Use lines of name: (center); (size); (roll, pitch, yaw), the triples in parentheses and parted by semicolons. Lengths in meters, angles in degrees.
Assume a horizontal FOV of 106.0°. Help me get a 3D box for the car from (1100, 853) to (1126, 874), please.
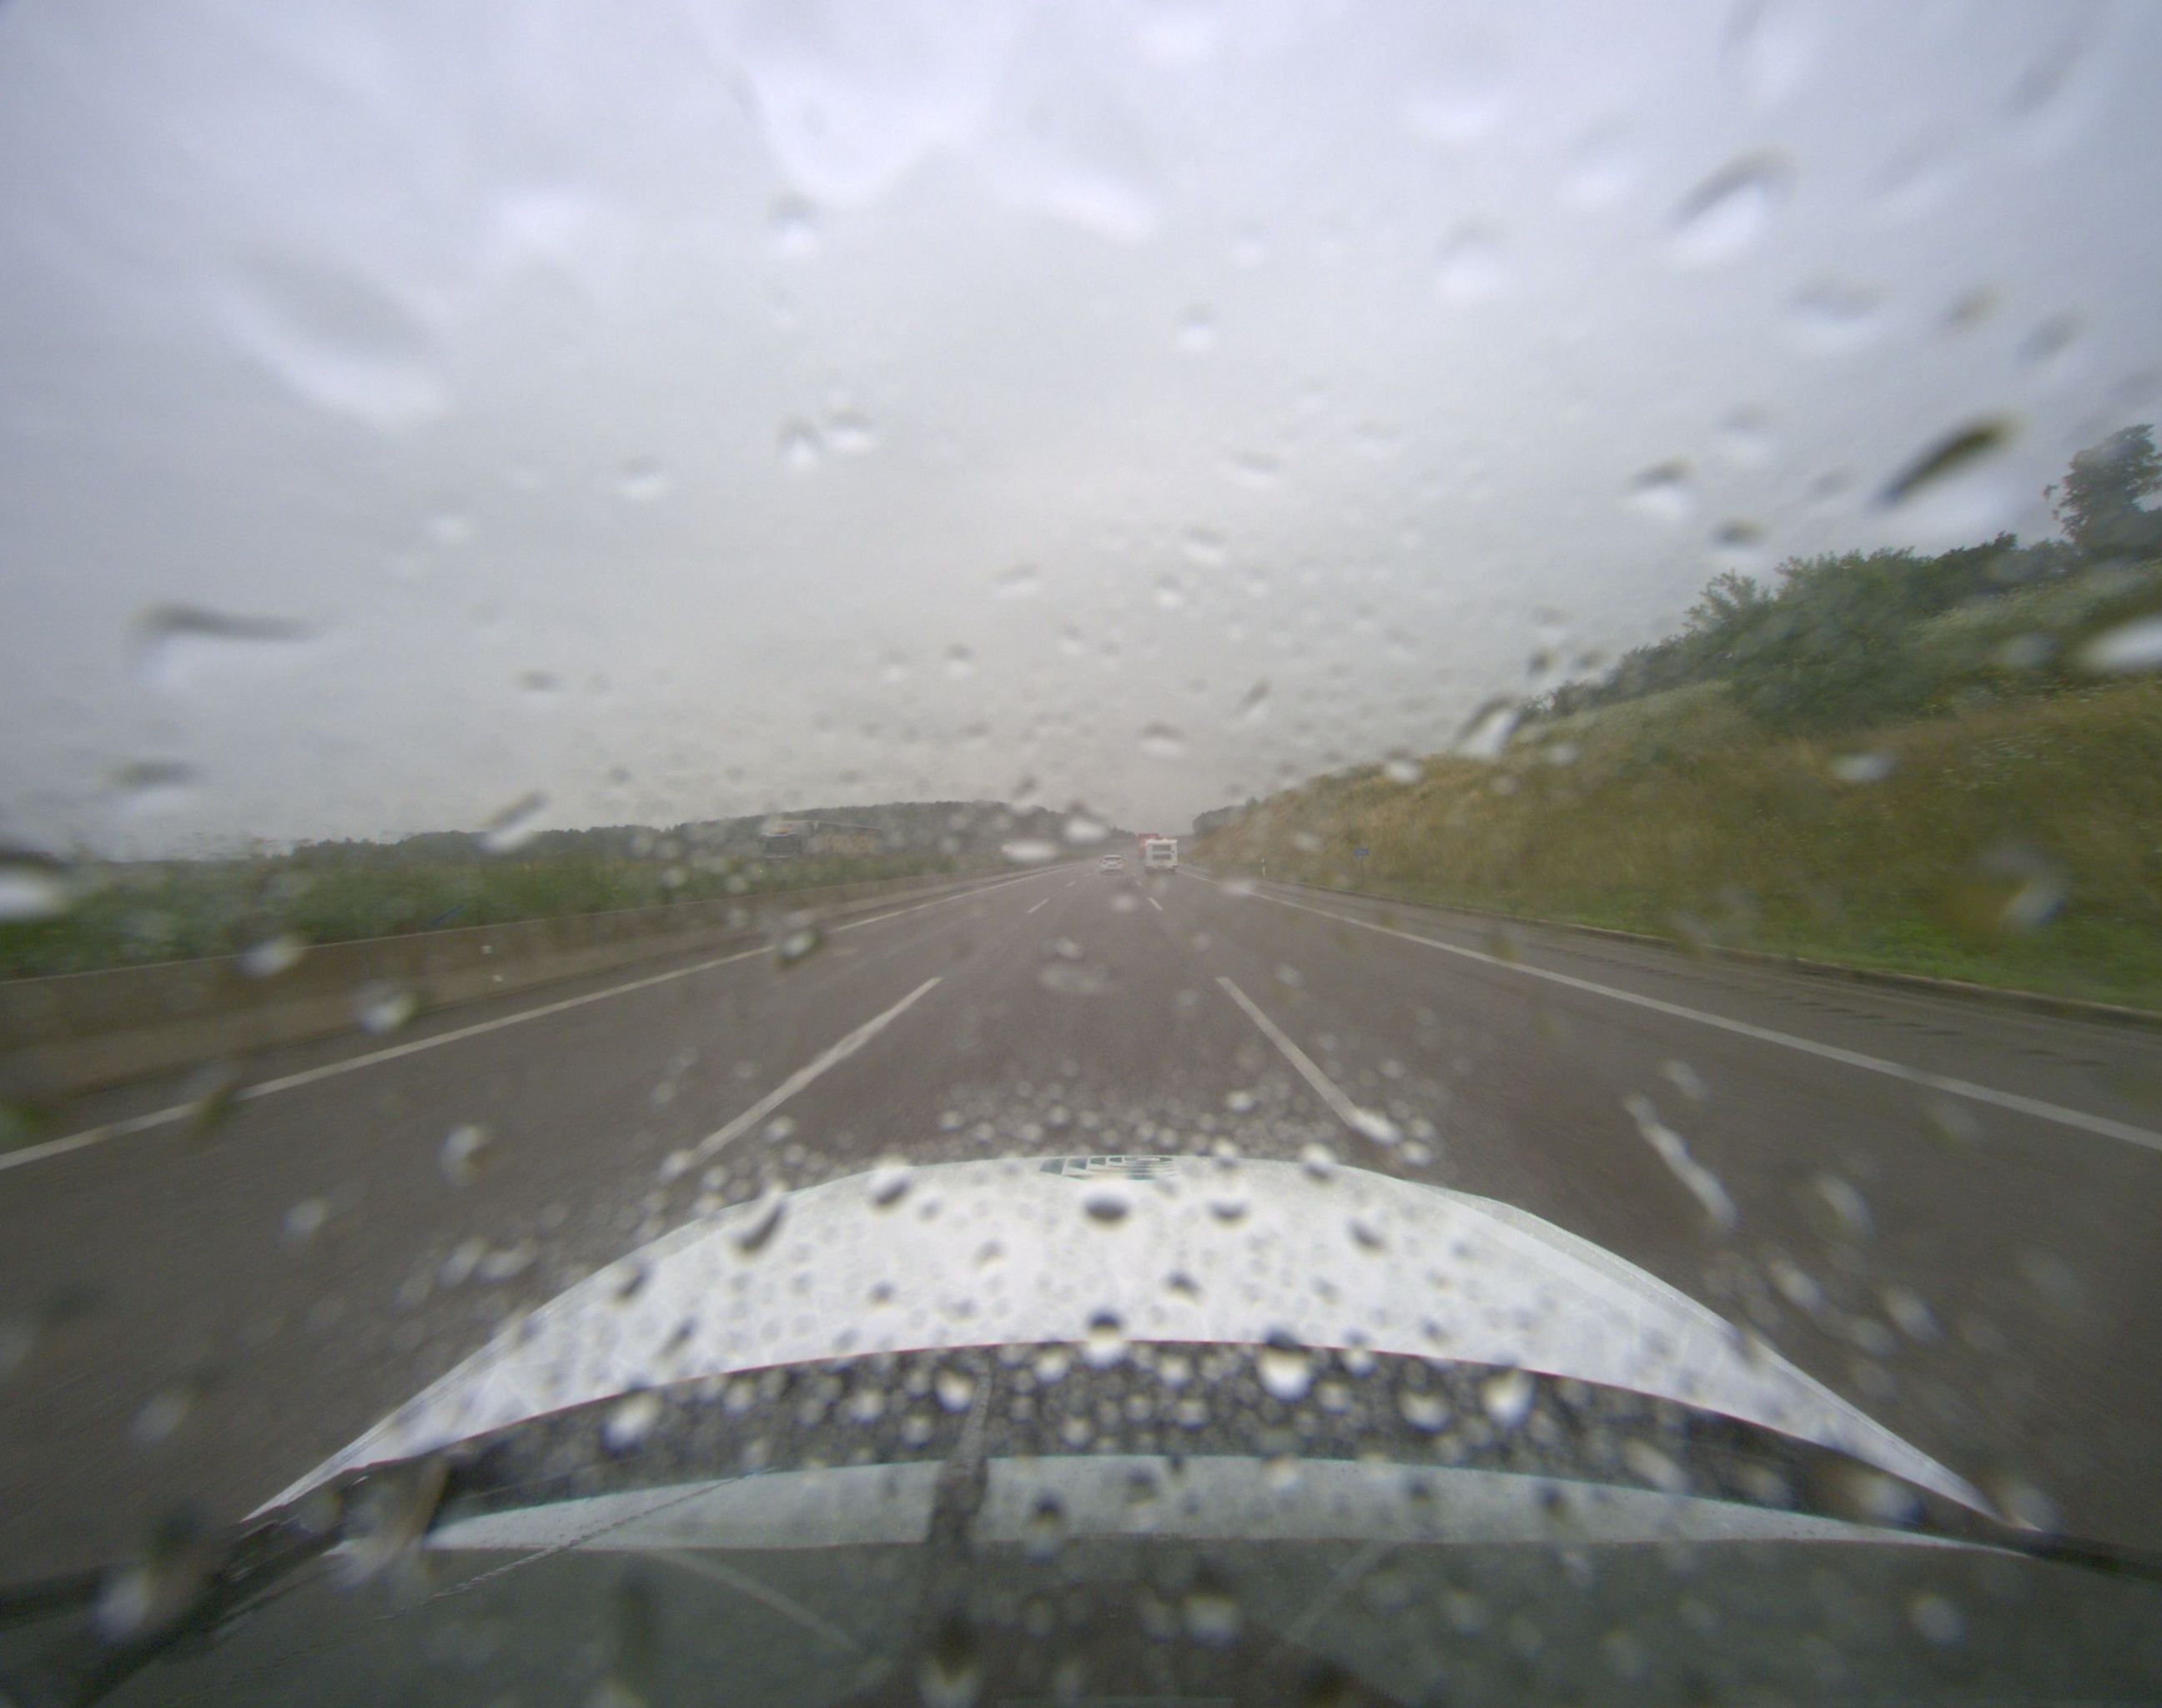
car: (2.425, 0.720, 61.983); (1.861, 1.463, 4.000); (-1, -1, 1)

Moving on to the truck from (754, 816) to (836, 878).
truck: (-17.470, -0.337, 50.117); (2.937, 3.622, 5.467); (-1, -1, 3)

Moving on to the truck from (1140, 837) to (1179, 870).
truck: (5.741, -0.044, 59.918); (2.400, 2.252, 4.692); (-1, 0, 0)

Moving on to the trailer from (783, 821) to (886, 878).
trailer: (-17.130, -0.139, 57.862); (2.980, 3.640, 12.496); (-1, -1, 2)

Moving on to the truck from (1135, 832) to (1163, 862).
truck: (9.099, -0.947, 108.566); (3.510, 3.742, 11.442); (0, 1, 5)
